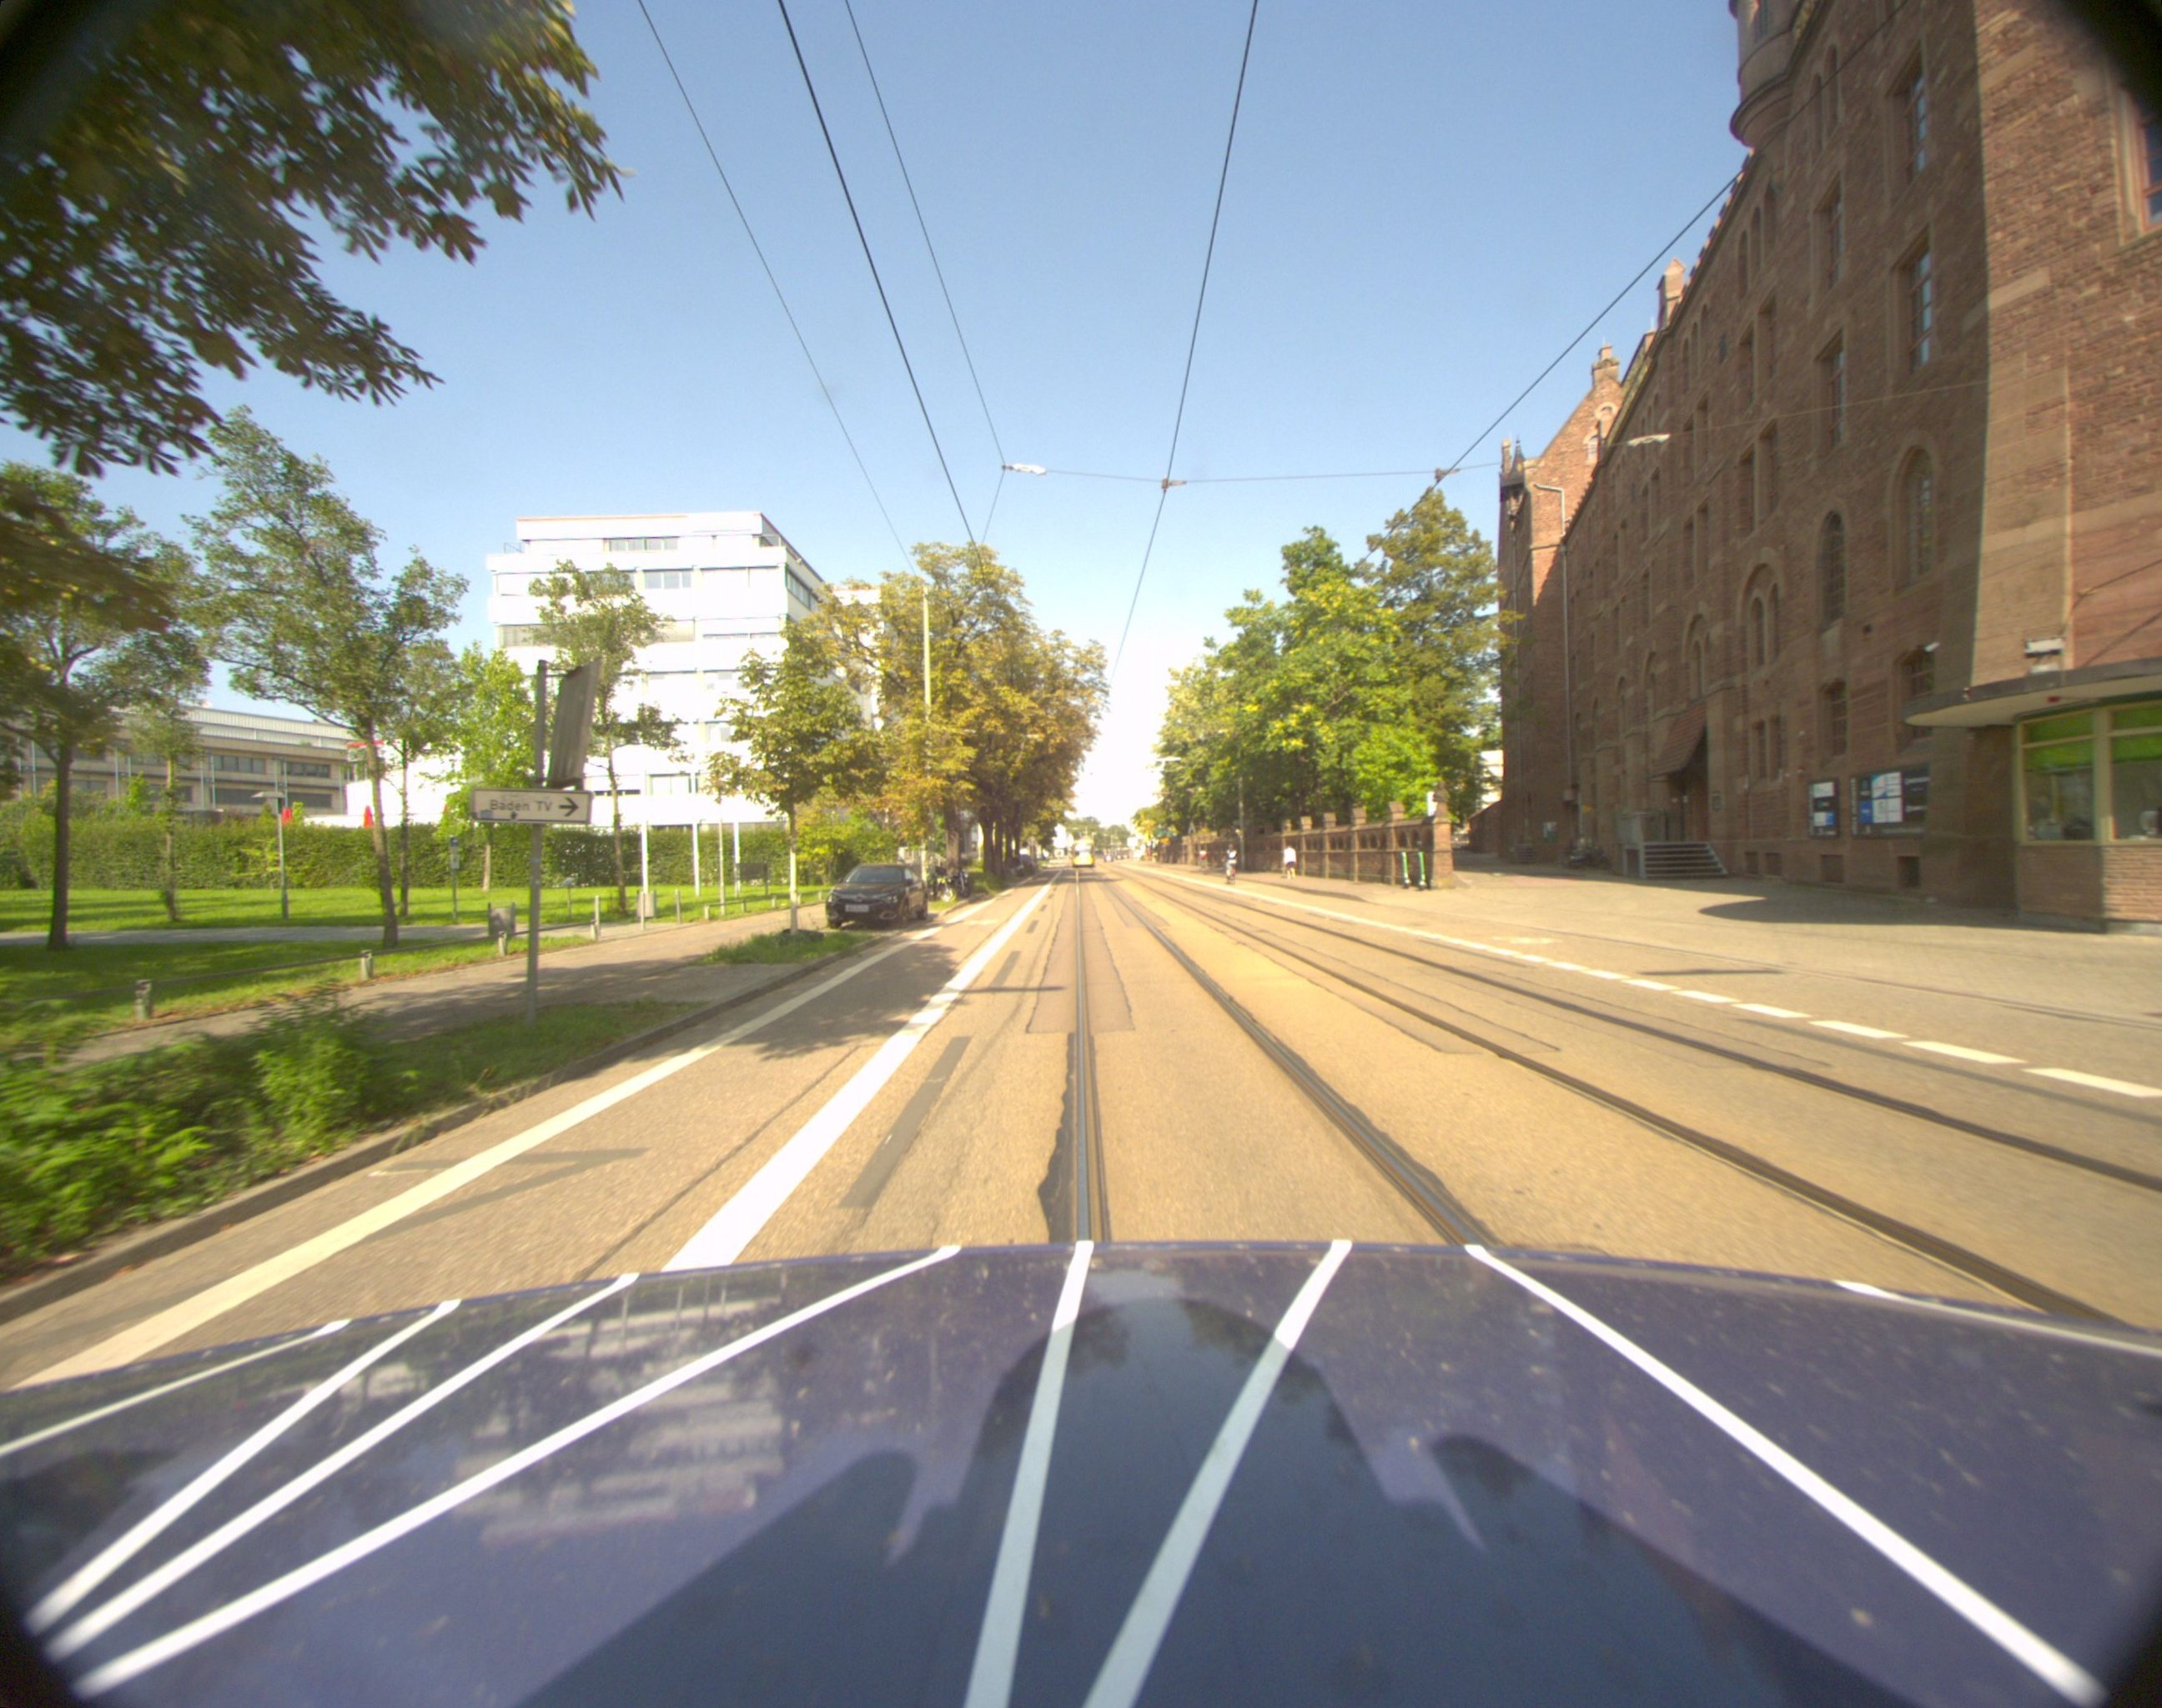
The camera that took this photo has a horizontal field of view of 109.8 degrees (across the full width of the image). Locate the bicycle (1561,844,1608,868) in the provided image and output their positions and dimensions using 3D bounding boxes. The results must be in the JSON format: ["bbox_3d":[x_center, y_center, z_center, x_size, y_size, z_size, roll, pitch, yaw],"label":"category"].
[{"bbox_3d":[23.118,0.081,34.871,1.772,1.040,0.666,-1,1,35],"label":"bicycle"}]

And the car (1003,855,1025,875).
[{"bbox_3d":[-5.173,0.817,58.883,1.567,1.433,3.562,1,1,-3],"label":"car"}]

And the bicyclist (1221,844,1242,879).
[{"bbox_3d":[6.882,0.340,34.769,0.699,1.571,1.087,-1,1,-2],"label":"bicyclist"}]

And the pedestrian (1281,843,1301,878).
[{"bbox_3d":[9.941,0.299,36.018,0.717,1.580,0.775,-2,1,-1],"label":"pedestrian"}]

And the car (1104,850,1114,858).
[{"bbox_3d":[5.111,-0.058,139.901,1.695,1.434,3.999,-1,0,0],"label":"car"}]

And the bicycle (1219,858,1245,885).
[{"bbox_3d":[6.879,0.767,34.739,0.699,1.151,2.037,-1,1,-2],"label":"bicycle"}]

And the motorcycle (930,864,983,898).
[{"bbox_3d":[-4.906,1.036,29.874,2.061,1.236,0.846,1,1,38],"label":"motorcycle"}]

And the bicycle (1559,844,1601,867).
[{"bbox_3d":[23.986,0.074,36.503,1.659,1.040,0.566,-1,1,35],"label":"bicycle"}]

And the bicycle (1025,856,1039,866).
[{"bbox_3d":[-5.230,0.719,81.524,1.460,1.009,0.382,-1,1,-3],"label":"bicycle"}]

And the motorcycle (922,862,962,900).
[{"bbox_3d":[-5.215,0.996,28.475,0.846,1.319,2.062,-1,1,-29],"label":"motorcycle"}]

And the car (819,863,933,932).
[{"bbox_3d":[-4.987,0.993,19.091,1.745,1.477,4.436,0,0,-1],"label":"car"}]

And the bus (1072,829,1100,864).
[{"bbox_3d":[0.695,-0.907,88.527,2.900,3.772,9.318,-2,1,2],"label":"bus"}]

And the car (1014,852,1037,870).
[{"bbox_3d":[-5.162,0.610,71.043,1.866,1.644,4.182,0,1,-1],"label":"car"}]

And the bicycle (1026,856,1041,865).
[{"bbox_3d":[-5.090,0.708,82.001,1.621,1.009,0.382,-1,1,-3],"label":"bicycle"}]

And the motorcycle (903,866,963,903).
[{"bbox_3d":[-5.133,1.052,26.258,1.984,1.218,0.647,-1,1,25],"label":"motorcycle"}]

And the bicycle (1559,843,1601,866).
[{"bbox_3d":[23.532,0.034,35.836,1.659,1.040,0.566,-1,1,35],"label":"bicycle"}]

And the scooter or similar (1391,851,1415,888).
[{"bbox_3d":[10.453,0.490,24.658,0.818,1.142,0.283,-6,3,-36],"label":"scooter or similar"}]

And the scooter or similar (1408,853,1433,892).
[{"bbox_3d":[10.470,0.558,23.426,0.818,1.142,0.283,-6,3,-36],"label":"scooter or similar"}]

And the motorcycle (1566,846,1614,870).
[{"bbox_3d":[22.722,0.180,33.928,1.694,0.995,0.583,-1,1,24],"label":"motorcycle"}]
